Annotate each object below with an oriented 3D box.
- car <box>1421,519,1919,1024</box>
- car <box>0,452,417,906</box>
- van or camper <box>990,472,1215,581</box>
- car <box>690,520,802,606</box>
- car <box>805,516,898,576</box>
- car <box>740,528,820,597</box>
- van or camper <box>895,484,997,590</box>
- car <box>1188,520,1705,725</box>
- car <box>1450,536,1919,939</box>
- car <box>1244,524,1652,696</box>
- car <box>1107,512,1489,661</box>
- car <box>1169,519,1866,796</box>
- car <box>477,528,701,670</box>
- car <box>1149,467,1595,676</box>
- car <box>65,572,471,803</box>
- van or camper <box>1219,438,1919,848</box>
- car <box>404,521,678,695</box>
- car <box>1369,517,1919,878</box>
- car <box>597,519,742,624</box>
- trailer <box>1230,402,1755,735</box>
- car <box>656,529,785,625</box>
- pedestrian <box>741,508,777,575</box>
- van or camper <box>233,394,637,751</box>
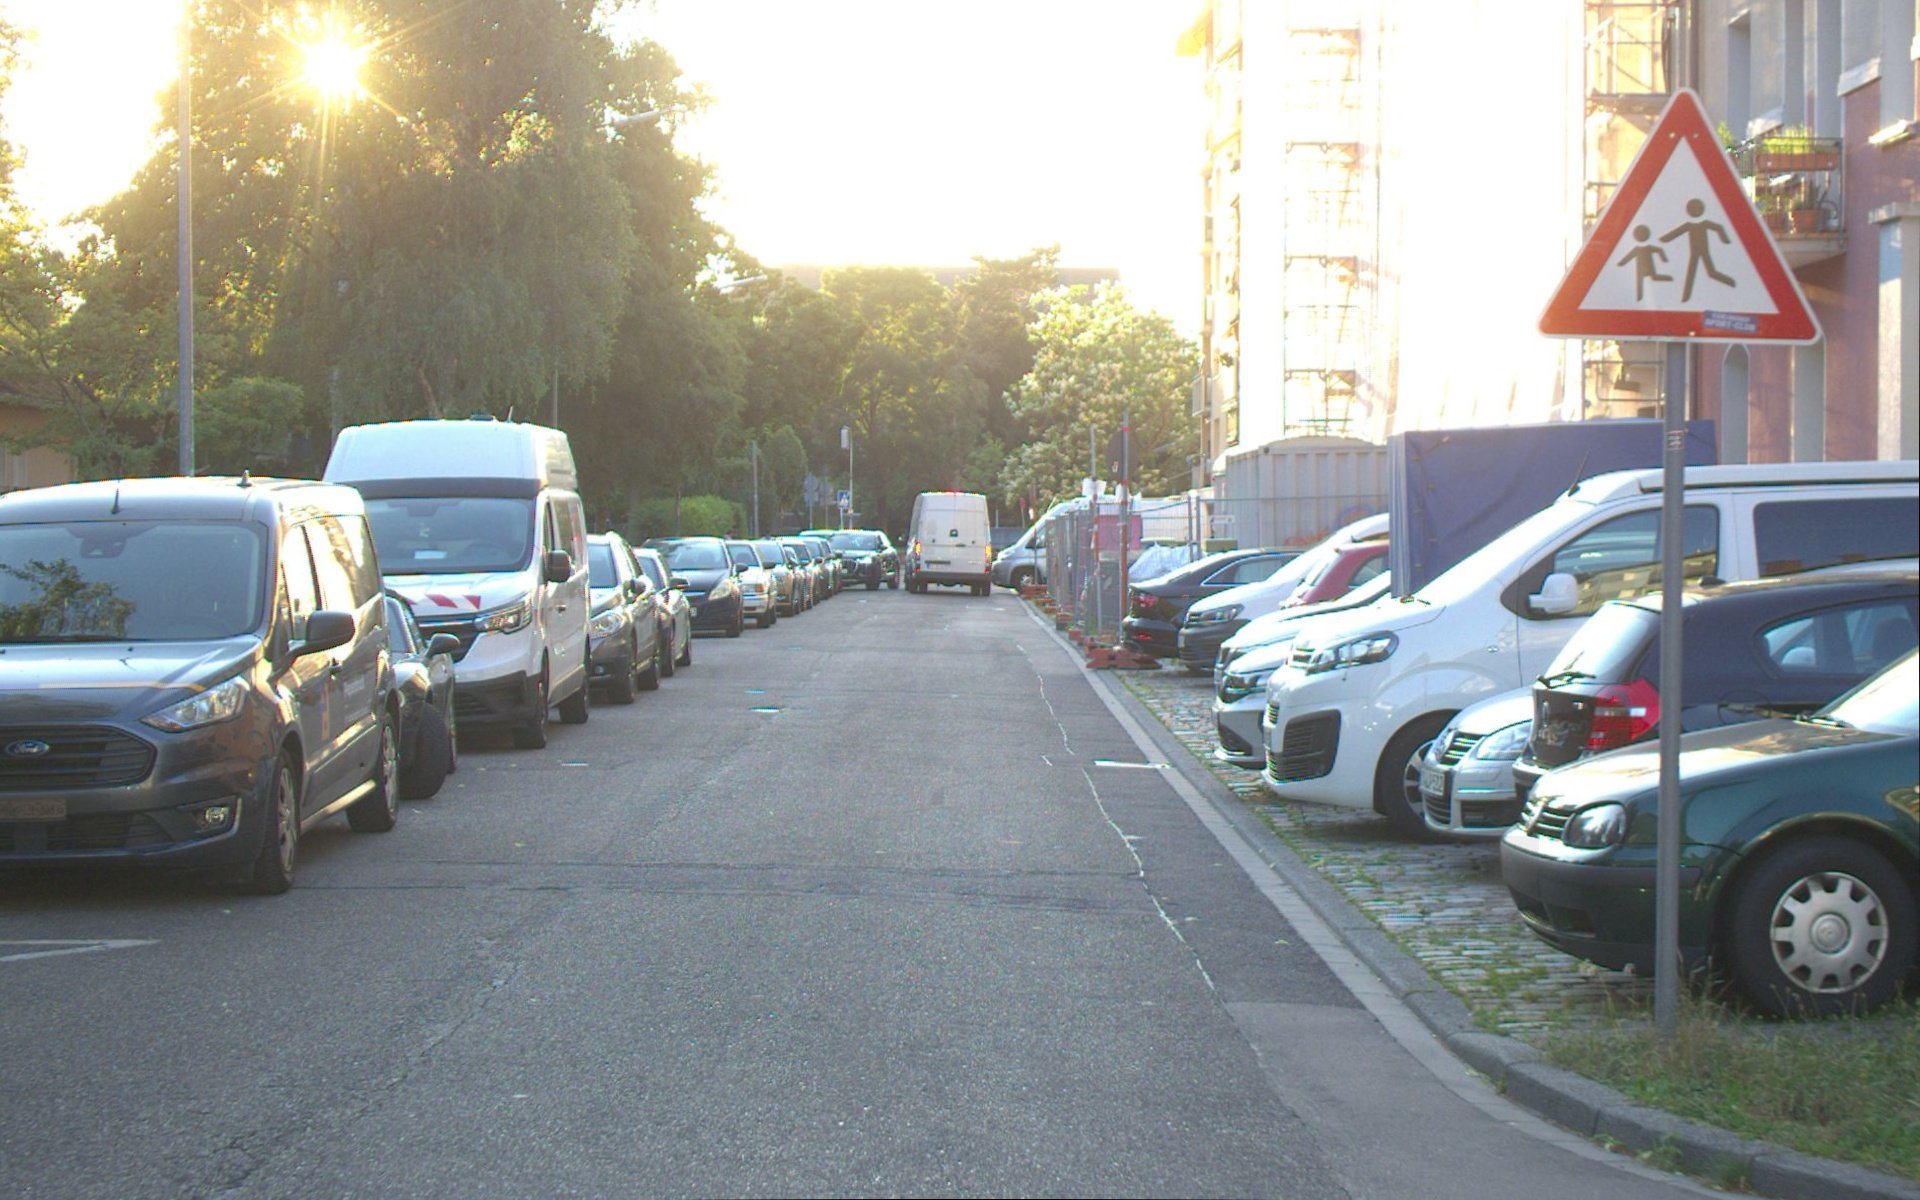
[{"bbox_3d":[3.795,0.528,11.776,4.101,1.579,1.855,0,1,-3],"label":"car"},{"bbox_3d":[-3.833,0.251,16.019,1.910,1.782,4.950,-1,2,-1],"label":"car"},{"bbox_3d":[3.830,-1.981,93.134,5.928,2.760,2.110,2,1,-1],"label":"van or camper"},{"bbox_3d":[-3.997,-0.725,64.894,1.860,1.532,4.759,-1,1,-1],"label":"car"},{"bbox_3d":[-2.890,-1.451,92.282,1.805,1.564,4.564,0,1,7],"label":"car"},{"bbox_3d":[-3.943,-0.849,75.942,1.601,1.426,3.804,-2,1,-1],"label":"car"},{"bbox_3d":[-0.345,-1.650,89.233,2.454,2.538,6.083,2,1,0],"label":"van or camper"},{"bbox_3d":[4.009,0.163,28.791,3.986,1.632,1.903,0,1,-3],"label":"car"},{"bbox_3d":[4.196,0.521,14.240,3.986,1.525,2.000,0,1,-2],"label":"car"},{"bbox_3d":[4.725,0.078,33.641,3.691,1.605,1.745,0,1,-2],"label":"car"},{"bbox_3d":[3.757,-0.176,38.783,4.153,1.610,1.872,0,1,2],"label":"car"},{"bbox_3d":[3.395,0.331,21.530,3.986,1.634,2.000,0,1,-2],"label":"car"},{"bbox_3d":[-4.071,-0.057,38.330,1.993,1.448,4.288,1,1,0],"label":"car"},{"bbox_3d":[4.277,-0.330,36.015,4.265,1.973,1.822,-2,2,-7],"label":"car"},{"bbox_3d":[-4.099,0.471,20.981,1.993,1.185,4.037,1,1,-5],"label":"car"},{"bbox_3d":[3.926,0.202,18.744,4.833,2.089,2.041,0,1,-1],"label":"van or camper"},{"bbox_3d":[-3.925,0.017,32.945,1.993,1.514,4.789,1,1,0],"label":"car"},{"bbox_3d":[4.106,0.425,16.498,3.986,1.612,2.000,0,1,-2],"label":"car"},{"bbox_3d":[-4.246,-0.447,50.794,1.993,1.448,4.001,1,1,-3],"label":"car"},{"bbox_3d":[3.986,-0.260,26.164,3.566,2.329,1.941,-2,1,-3],"label":"trailer"},{"bbox_3d":[-3.888,-0.407,56.435,1.782,1.440,4.749,-2,1,-1],"label":"car"},{"bbox_3d":[-5.540,-1.620,94.847,0.937,1.824,0.787,1,1,-1],"label":"pedestrian"},{"bbox_3d":[-3.913,-0.269,26.776,1.993,2.448,6.083,1,2,2],"label":"van or camper"}]
